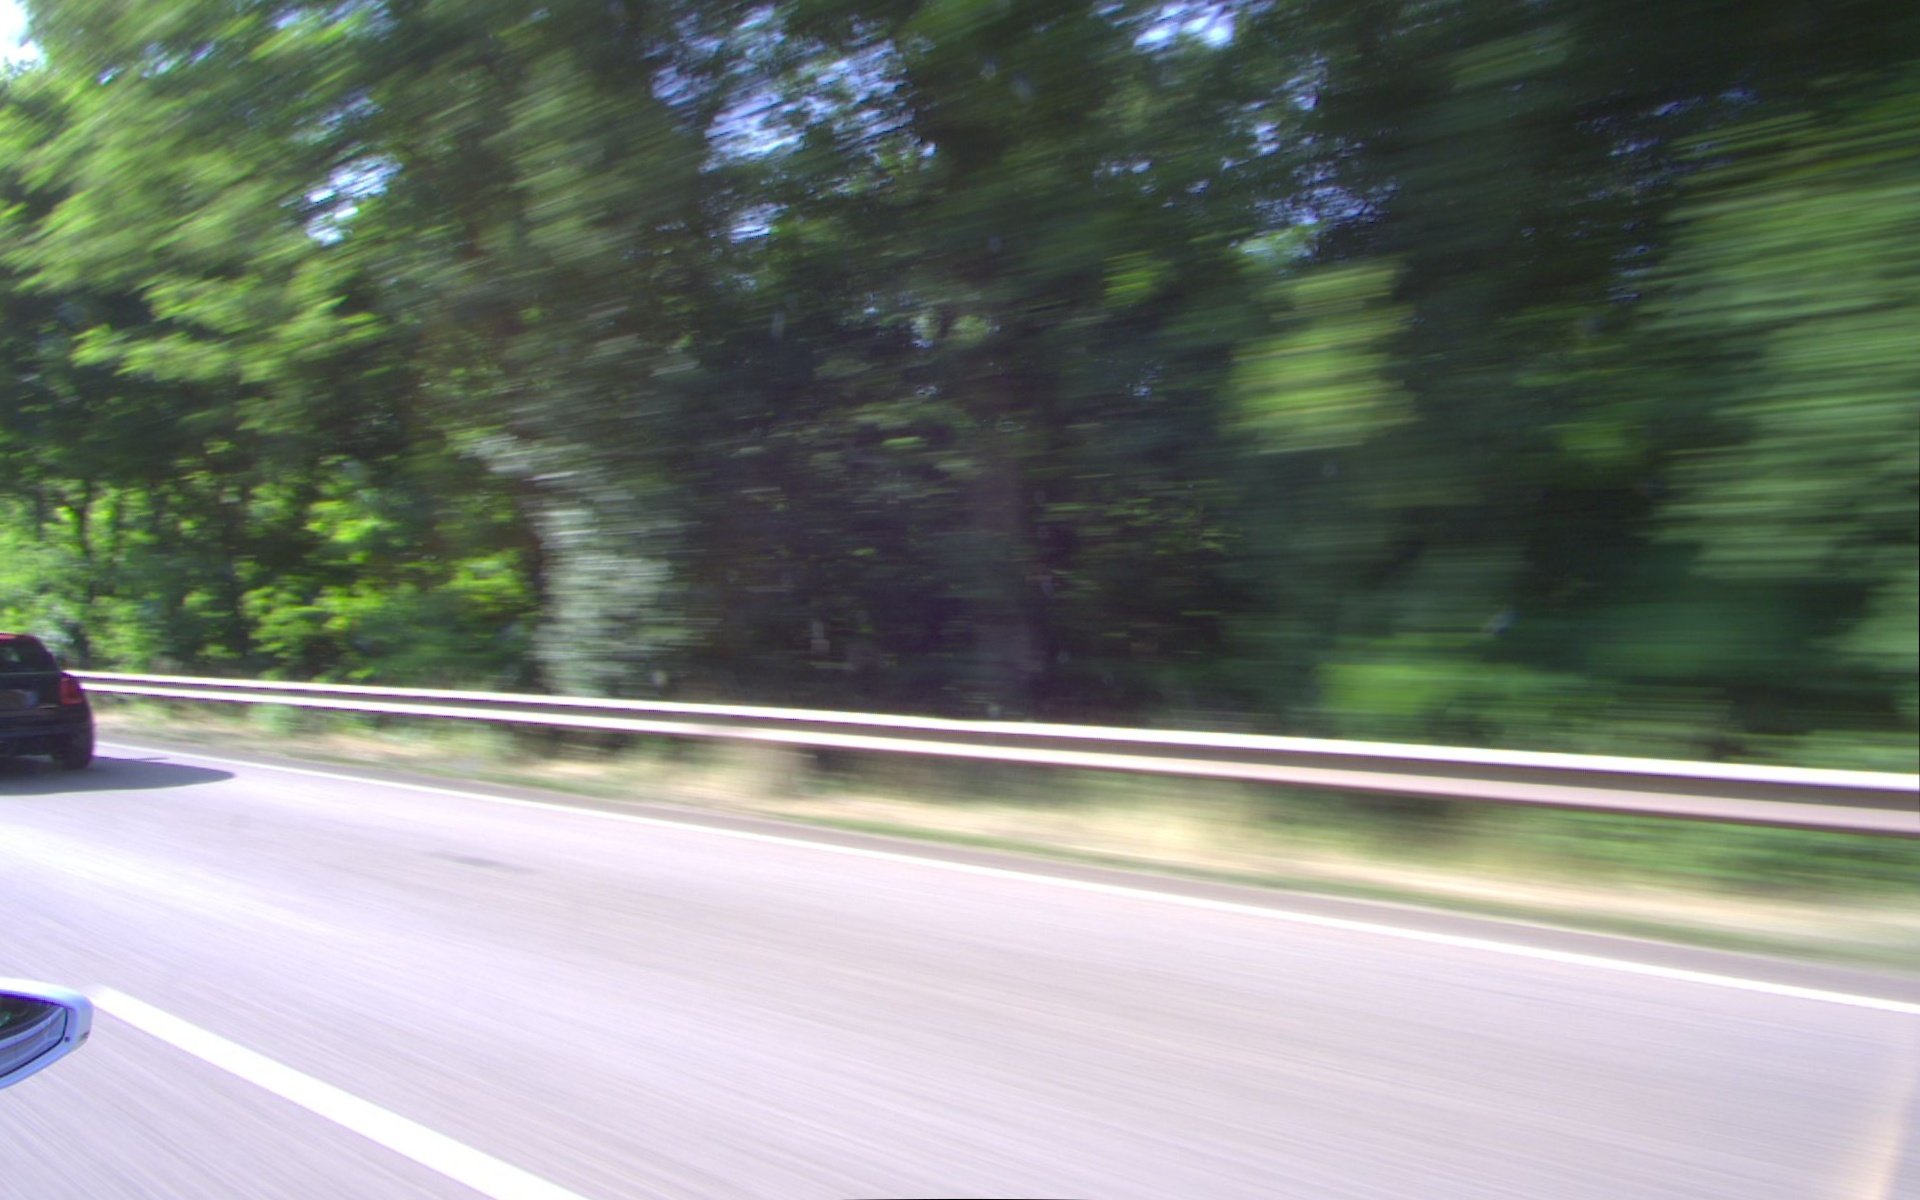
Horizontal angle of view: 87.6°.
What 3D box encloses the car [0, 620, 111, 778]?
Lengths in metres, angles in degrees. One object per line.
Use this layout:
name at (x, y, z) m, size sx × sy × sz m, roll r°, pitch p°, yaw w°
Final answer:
car at (-10.717, 0.949, 10.413) m, size 3.817 × 1.486 × 1.817 m, roll 0°, pitch -2°, yaw 32°
